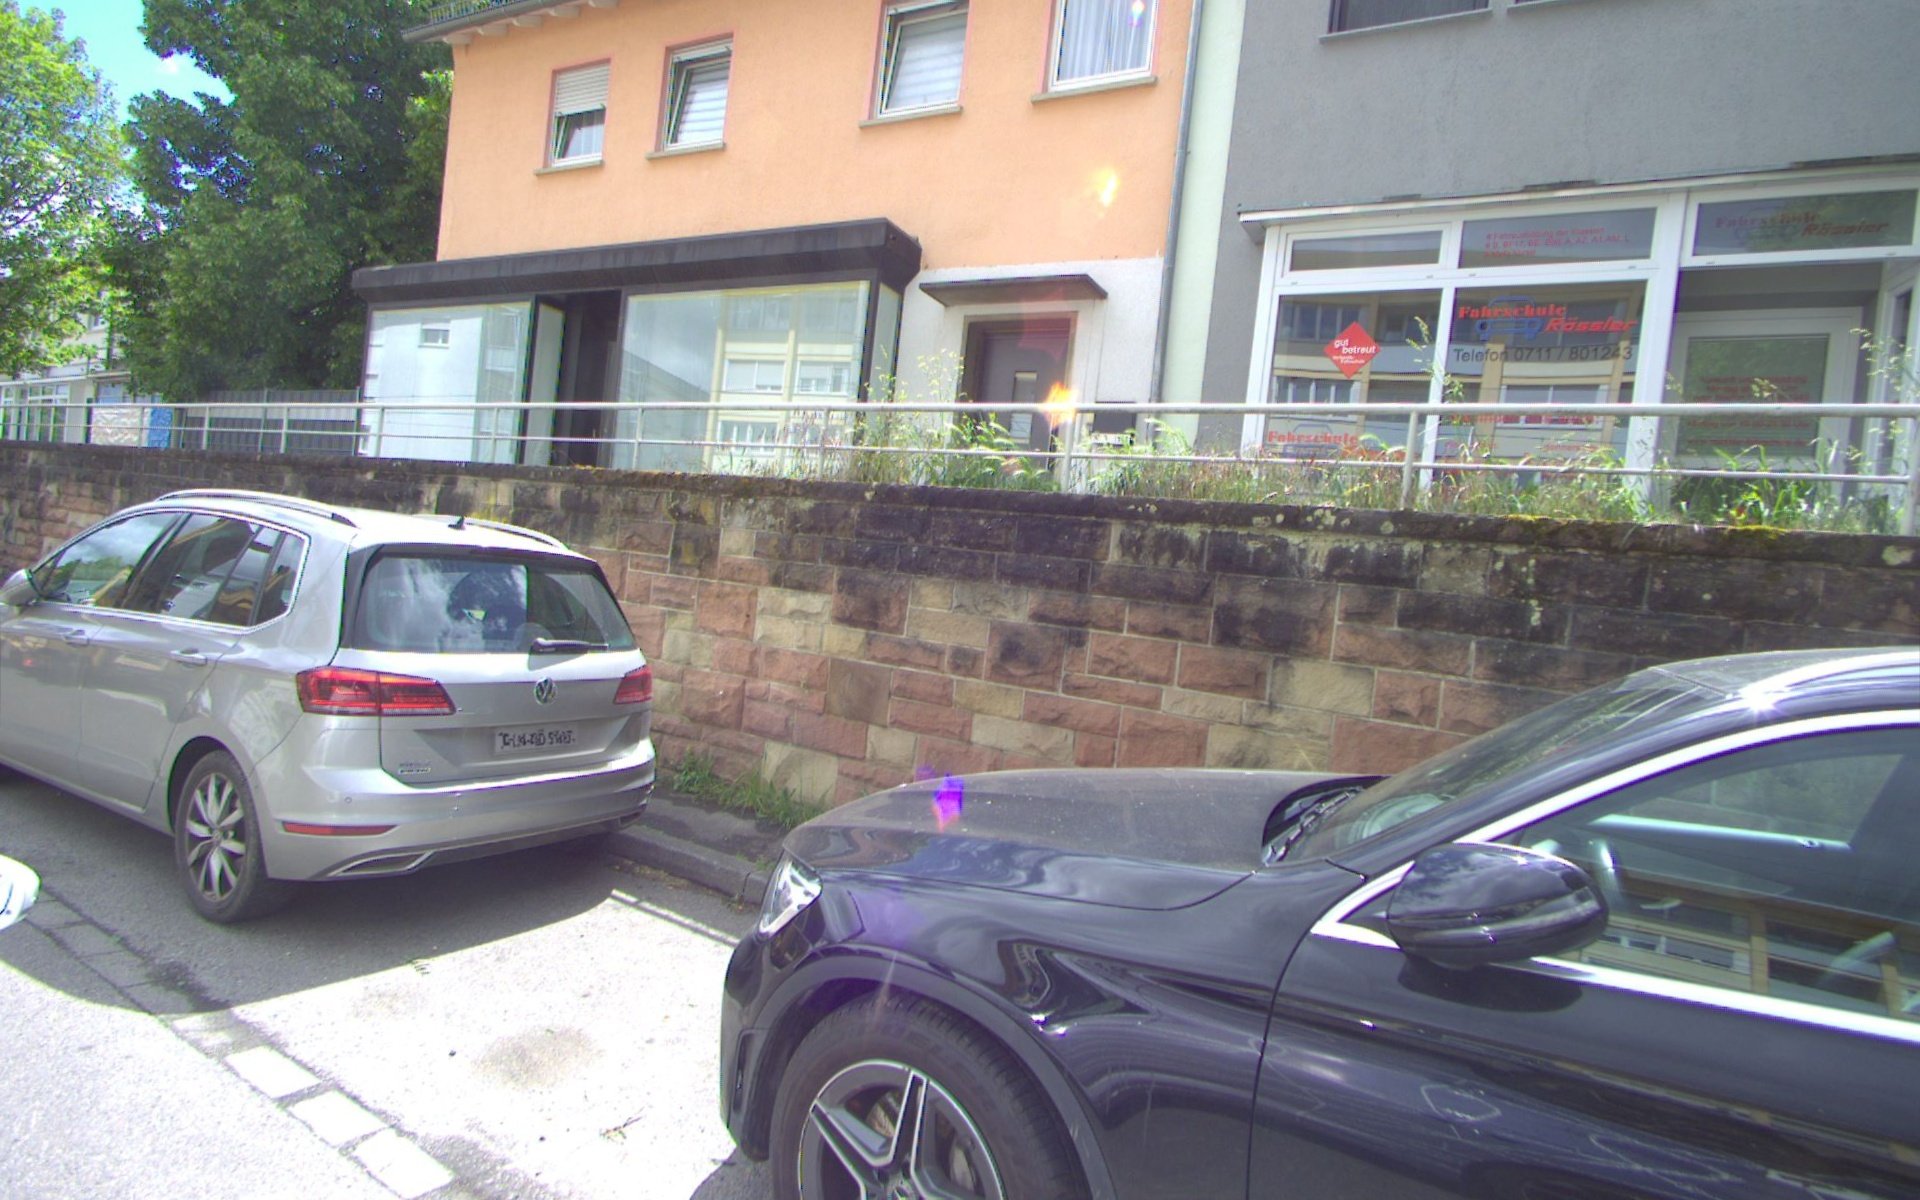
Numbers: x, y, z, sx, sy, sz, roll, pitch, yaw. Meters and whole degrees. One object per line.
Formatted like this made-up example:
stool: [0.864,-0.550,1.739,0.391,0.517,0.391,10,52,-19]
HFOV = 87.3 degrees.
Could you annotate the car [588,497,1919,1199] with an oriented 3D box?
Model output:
car: [1.543,0.842,1.903,4.373,1.639,1.791,7,2,31]

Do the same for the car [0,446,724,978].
car: [-3.418,0.227,5.037,4.177,1.638,1.791,7,1,31]
